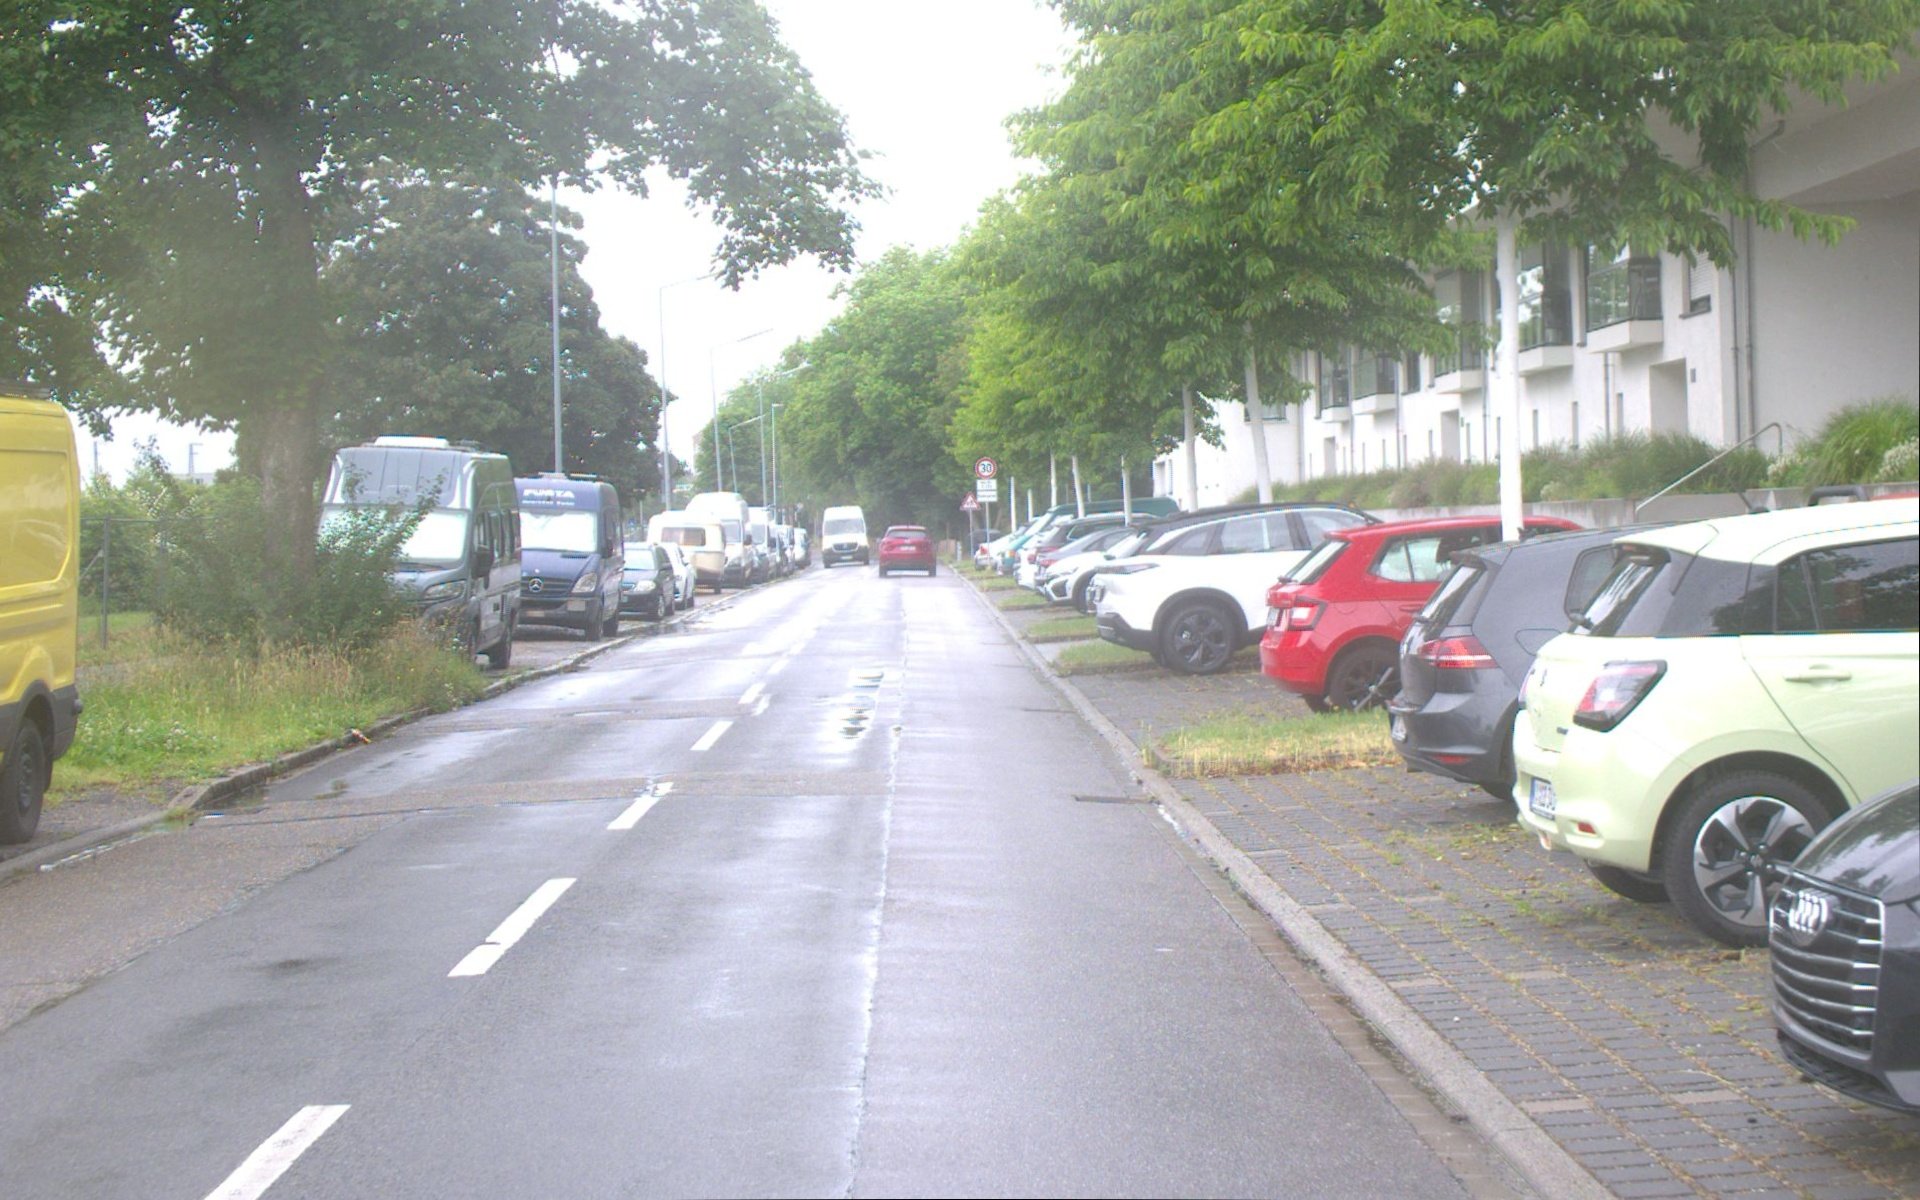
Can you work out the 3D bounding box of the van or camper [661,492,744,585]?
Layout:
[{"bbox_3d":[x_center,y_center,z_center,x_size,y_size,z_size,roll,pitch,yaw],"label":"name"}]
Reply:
[{"bbox_3d":[-7.870,-1.904,105.592,1.993,2.752,7.899,0,1,0],"label":"van or camper"}]

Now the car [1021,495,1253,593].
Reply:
[{"bbox_3d":[3.165,-1.014,61.987,3.987,1.504,1.684,-3,2,-1],"label":"car"}]

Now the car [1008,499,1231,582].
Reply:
[{"bbox_3d":[3.204,-1.205,69.515,4.298,1.423,1.637,-3,1,-2],"label":"car"}]

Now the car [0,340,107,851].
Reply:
[{"bbox_3d":[-6.149,-0.018,17.070,2.192,2.685,6.081,1,1,1],"label":"car"}]

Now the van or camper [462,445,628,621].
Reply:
[{"bbox_3d":[-6.822,-1.098,57.293,2.094,2.706,7.575,1,1,-2],"label":"van or camper"}]

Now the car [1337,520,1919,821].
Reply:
[{"bbox_3d":[4.052,0.324,17.844,3.956,1.469,1.592,0,1,-3],"label":"car"}]

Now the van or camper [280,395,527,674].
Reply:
[{"bbox_3d":[-6.625,-0.774,41.662,2.094,3.083,6.425,1,1,-2],"label":"van or camper"}]

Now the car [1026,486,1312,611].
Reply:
[{"bbox_3d":[3.442,-0.875,57.188,4.476,1.681,1.936,-5,2,-2],"label":"car"}]

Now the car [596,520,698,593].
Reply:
[{"bbox_3d":[-6.869,-0.987,75.895,1.887,1.520,5.110,1,1,-2],"label":"car"}]

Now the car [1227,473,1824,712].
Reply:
[{"bbox_3d":[4.086,-0.058,25.295,3.987,1.446,1.821,-4,0,-1],"label":"car"}]

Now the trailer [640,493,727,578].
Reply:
[{"bbox_3d":[-7.343,-1.734,91.734,2.058,2.210,5.795,0,1,-2],"label":"trailer"}]

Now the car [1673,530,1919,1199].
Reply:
[{"bbox_3d":[4.155,0.470,7.833,4.570,1.492,1.826,-4,1,-1],"label":"car"}]

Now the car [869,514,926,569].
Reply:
[{"bbox_3d":[-2.024,-1.920,111.394,1.756,1.700,4.000,-2,2,0],"label":"car"}]

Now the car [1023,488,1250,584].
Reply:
[{"bbox_3d":[3.421,-1.255,67.172,4.161,1.619,1.898,-3,1,-3],"label":"car"}]

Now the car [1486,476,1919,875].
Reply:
[{"bbox_3d":[4.496,0.217,15.202,3.987,1.550,1.635,-4,1,0],"label":"car"}]

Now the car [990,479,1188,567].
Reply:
[{"bbox_3d":[3.154,-1.889,84.564,4.617,2.012,1.858,-2,1,-5],"label":"car"}]

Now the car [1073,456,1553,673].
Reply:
[{"bbox_3d":[3.584,-0.376,35.475,4.539,1.679,1.886,-6,1,-3],"label":"car"}]

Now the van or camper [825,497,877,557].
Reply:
[{"bbox_3d":[-4.818,-3.241,152.441,1.993,2.488,7.178,-2,1,0],"label":"van or camper"}]

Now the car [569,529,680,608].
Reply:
[{"bbox_3d":[-6.699,-0.658,69.039,1.774,1.497,4.828,1,1,0],"label":"car"}]

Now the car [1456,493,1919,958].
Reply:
[{"bbox_3d":[4.228,0.306,12.553,4.487,1.476,1.692,-4,1,-1],"label":"car"}]
